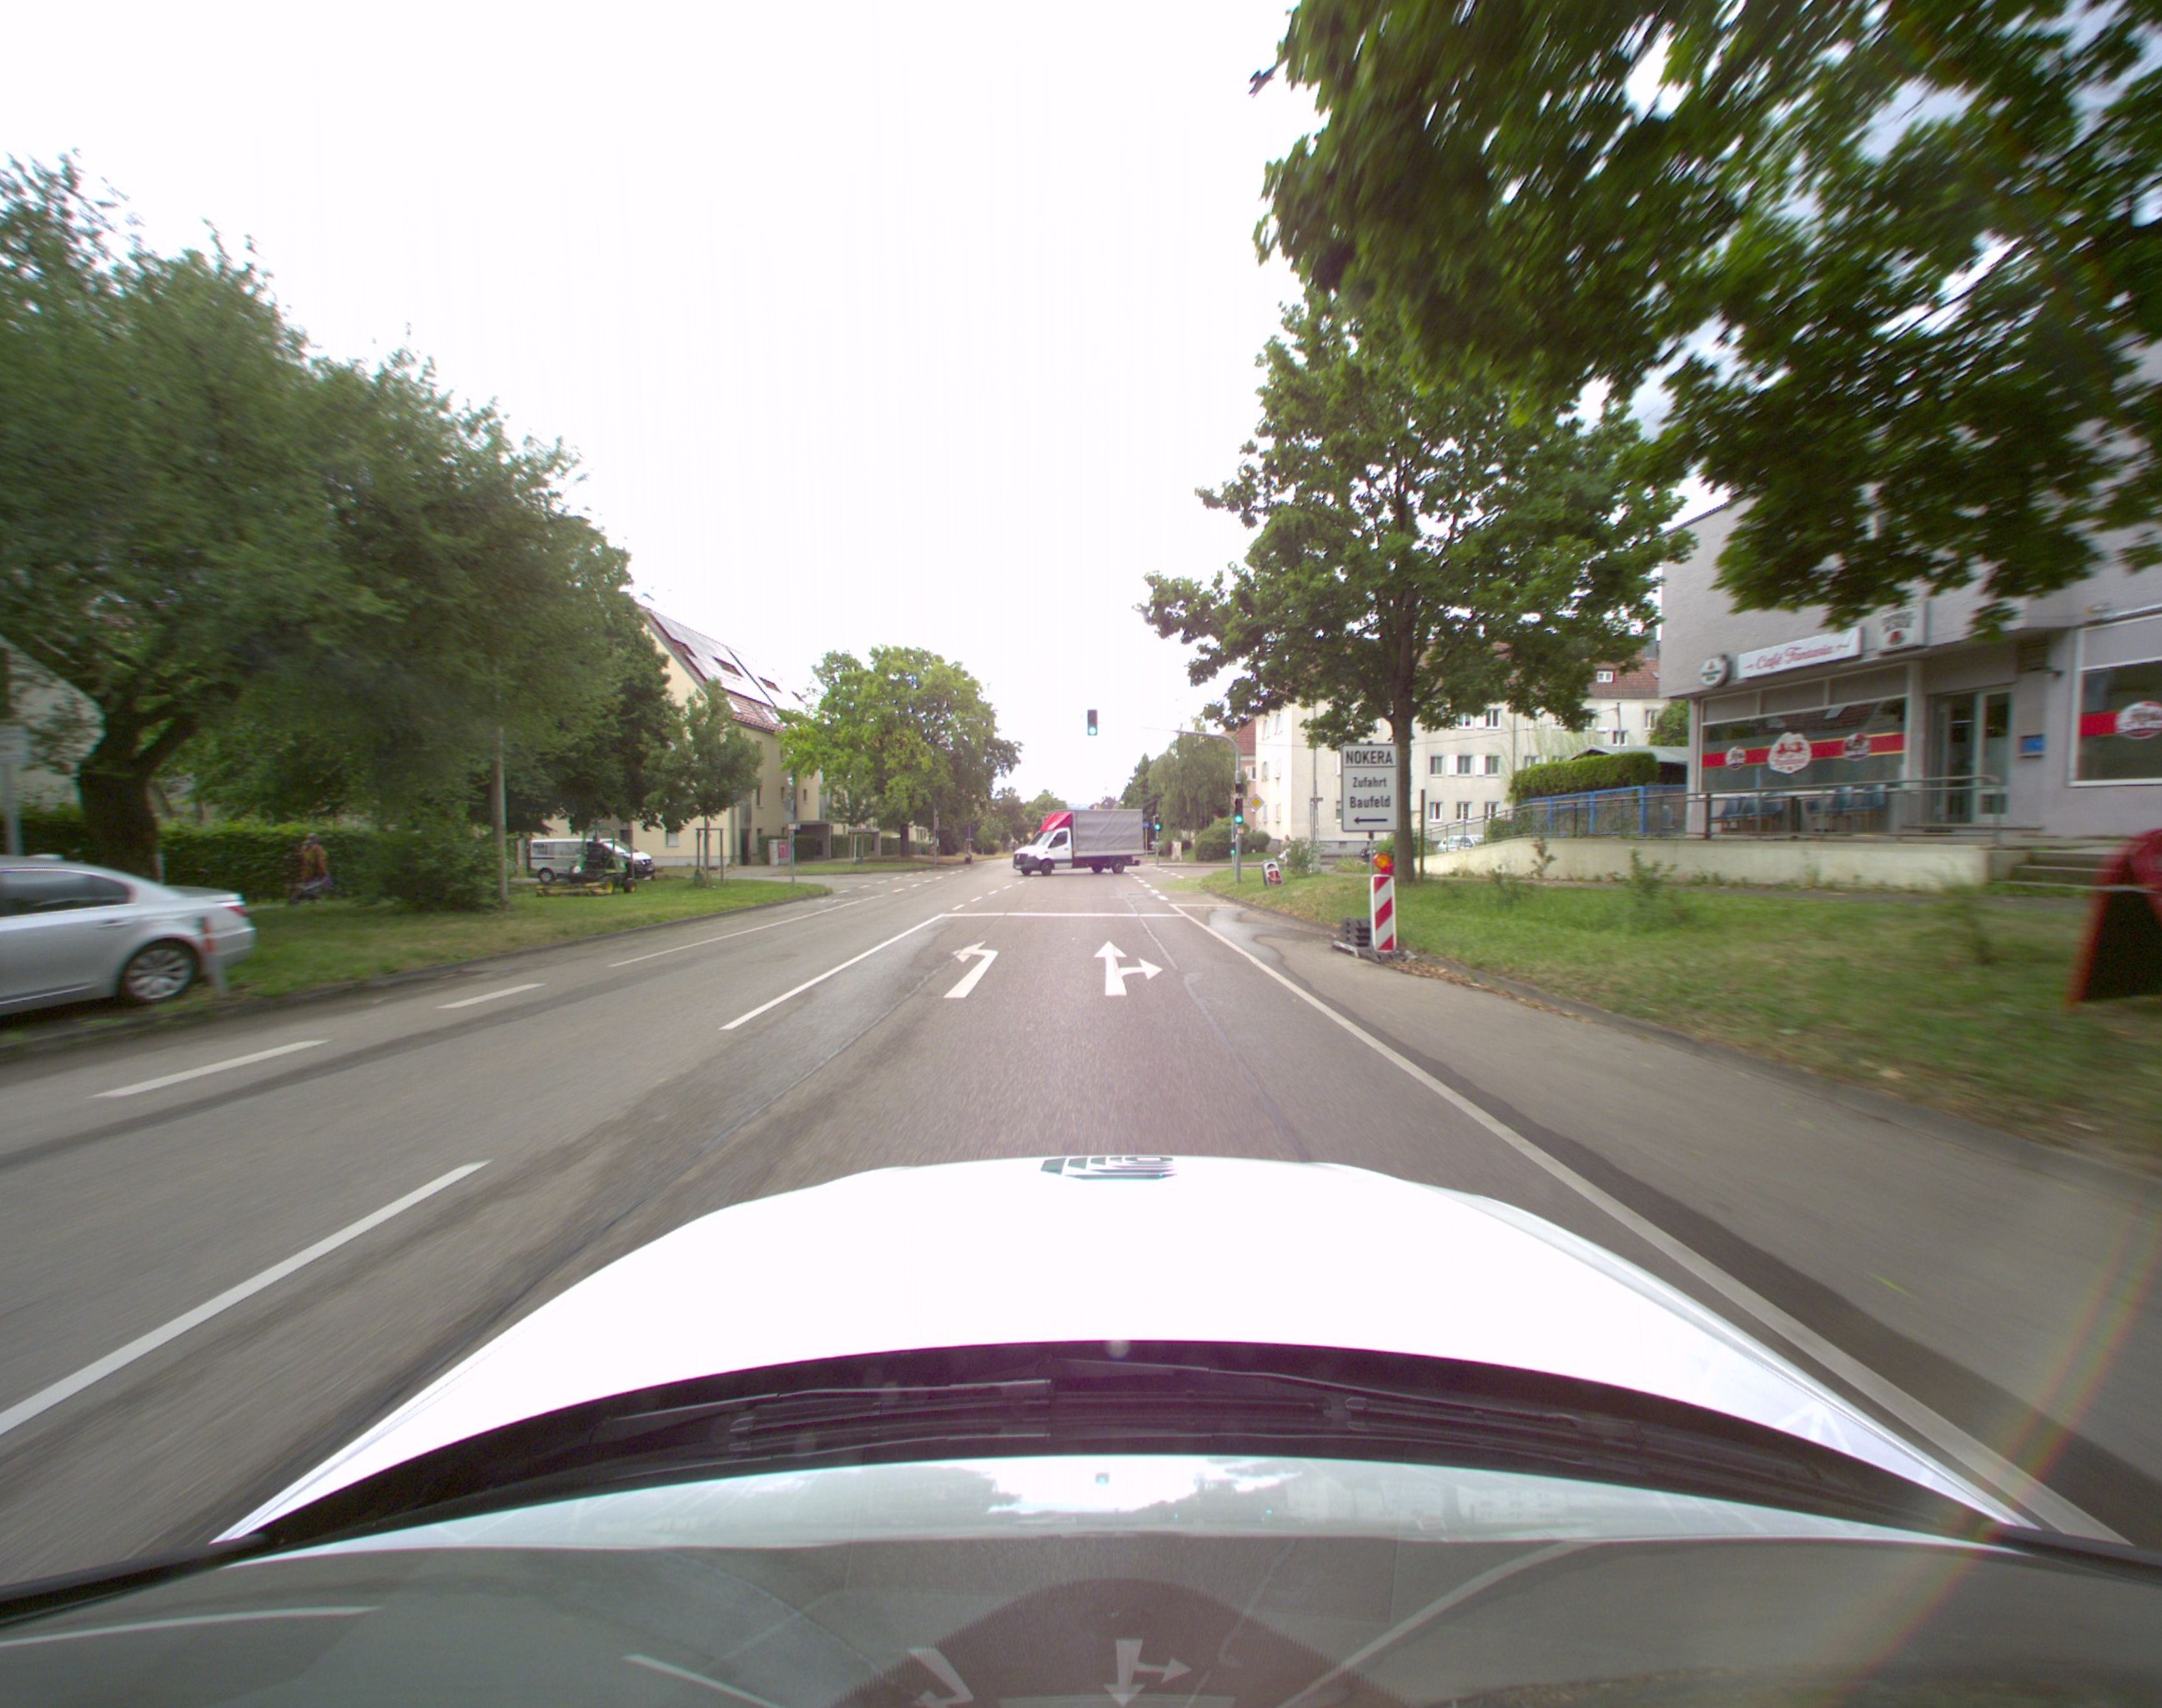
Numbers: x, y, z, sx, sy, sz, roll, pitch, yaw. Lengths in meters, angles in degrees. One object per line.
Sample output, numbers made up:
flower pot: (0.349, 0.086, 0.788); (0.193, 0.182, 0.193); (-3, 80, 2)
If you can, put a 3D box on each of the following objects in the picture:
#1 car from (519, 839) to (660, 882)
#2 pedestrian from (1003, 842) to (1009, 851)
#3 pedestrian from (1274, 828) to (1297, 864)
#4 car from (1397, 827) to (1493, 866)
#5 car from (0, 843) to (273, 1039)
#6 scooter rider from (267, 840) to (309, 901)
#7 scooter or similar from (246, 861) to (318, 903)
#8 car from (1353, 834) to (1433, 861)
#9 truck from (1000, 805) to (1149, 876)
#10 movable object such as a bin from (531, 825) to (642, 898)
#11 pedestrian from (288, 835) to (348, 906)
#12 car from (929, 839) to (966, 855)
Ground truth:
car: (-21.704, 0.276, 36.124); (4.980, 1.813, 1.999); (0, 0, -2)
pedestrian: (-13.131, -1.316, 142.451); (0.947, 1.650, 1.041); (0, 0, -7)
pedestrian: (10.790, -0.409, 42.956); (0.749, 1.855, 0.950); (-3, 1, -15)
car: (14.520, -0.350, 32.739); (1.866, 1.472, 3.995); (0, 2, -4)
car: (-9.899, 0.723, 6.657); (1.755, 1.633, 4.754); (0, 0, 1)
scooter rider: (-16.904, 0.353, 17.371); (0.349, 1.276, 0.560); (0, 0, 1)
scooter or similar: (-16.901, 0.574, 17.248); (0.324, 0.843, 1.202); (0, 0, 1)
car: (18.071, -0.374, 47.312); (3.971, 1.536, 2.001); (0, 0, 2)
truck: (-0.229, -0.680, 40.774); (7.280, 3.307, 2.513); (-1, 1, -34)
movable object such as a bin: (-13.730, 0.184, 22.787); (1.213, 1.903, 3.025); (0, 0, 1)
pedestrian: (-17.739, 0.379, 18.954); (0.628, 1.613, 0.829); (0, 0, -2)
car: (-13.355, -0.678, 81.702); (3.440, 1.596, 1.999); (0, 0, -2)
